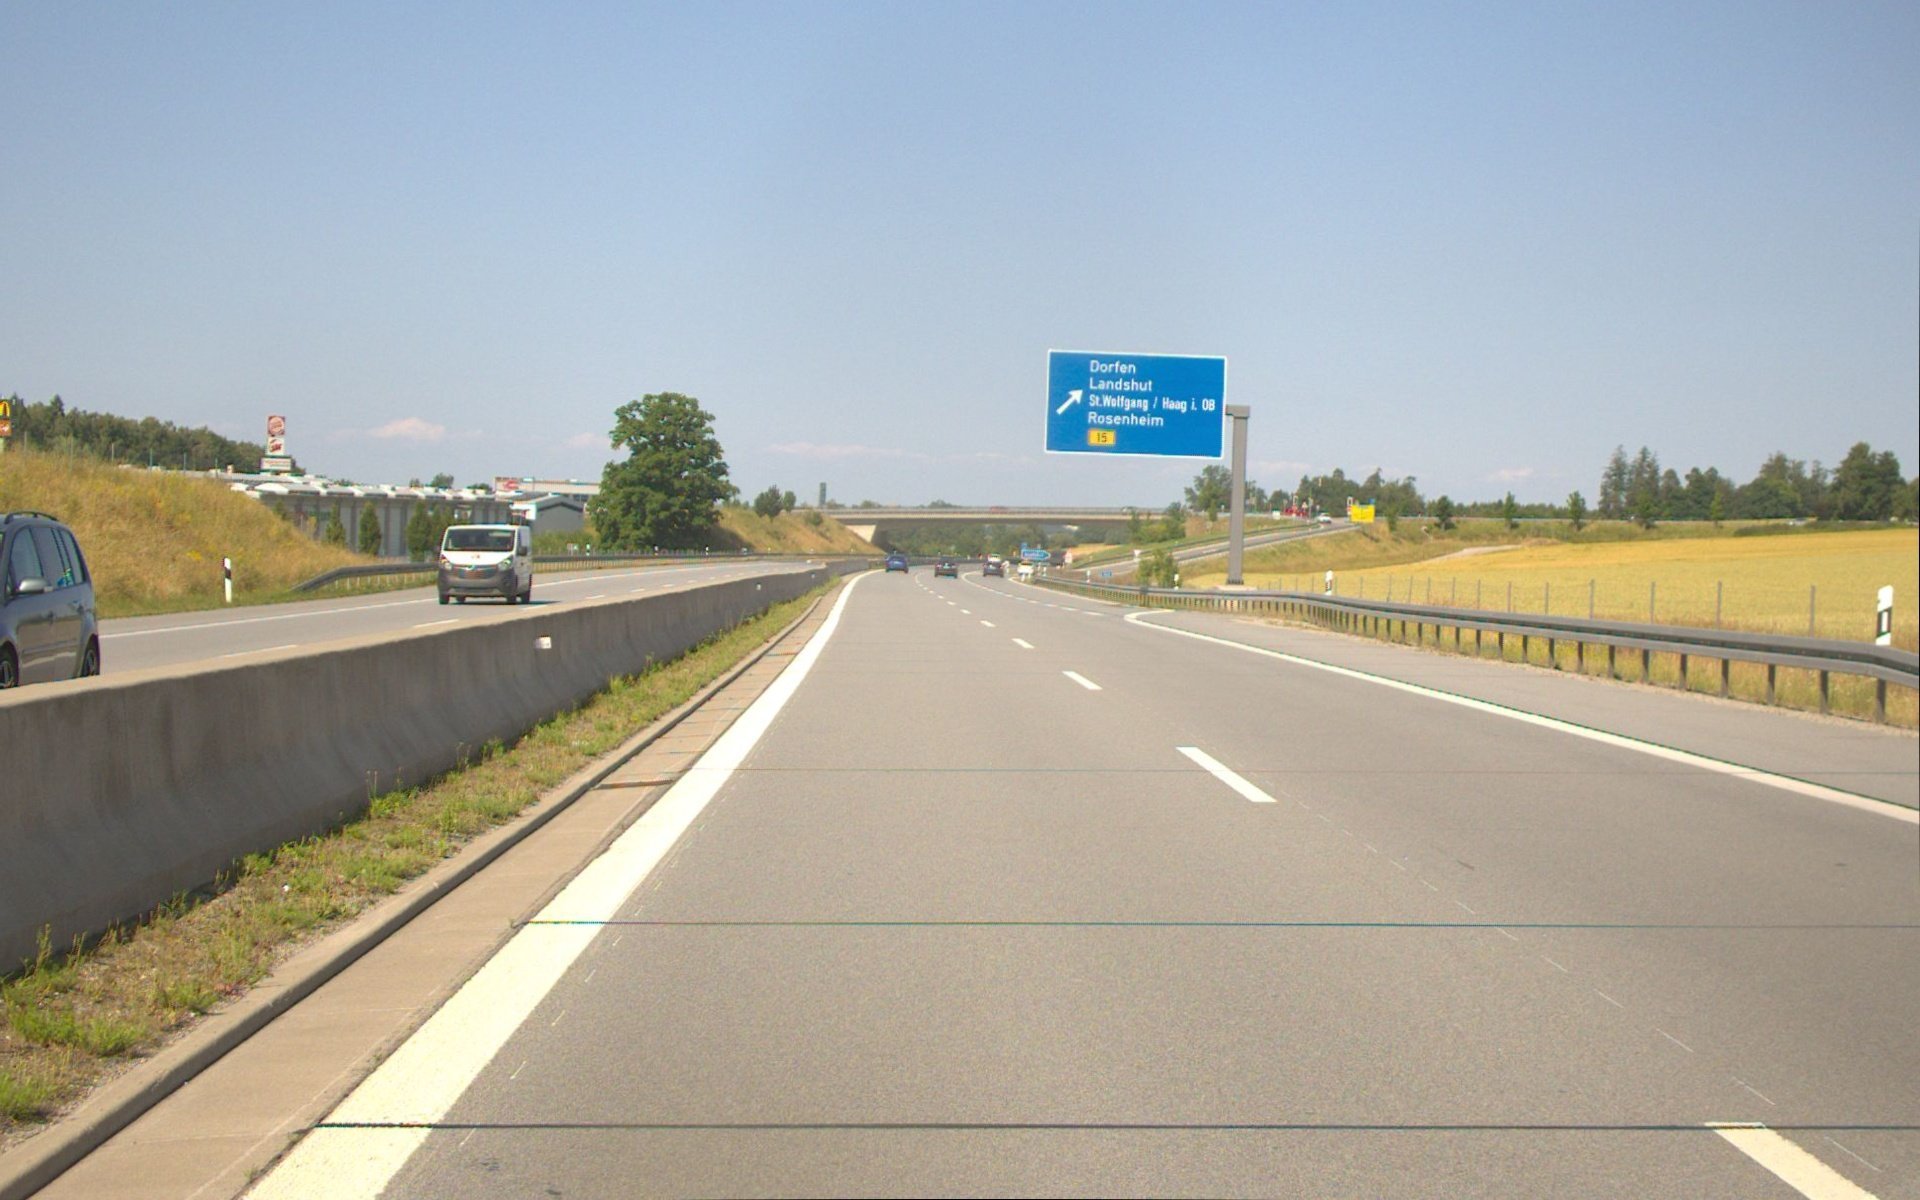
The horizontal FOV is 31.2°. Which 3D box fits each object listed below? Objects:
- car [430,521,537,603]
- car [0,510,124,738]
[{"bbox_3d":[-11.759,-0.963,85.212,2.233,1.928,5.796,1,1,-4],"label":"car"},{"bbox_3d":[-7.630,0.114,25.846,1.879,1.570,4.566,1,1,-4],"label":"car"}]
